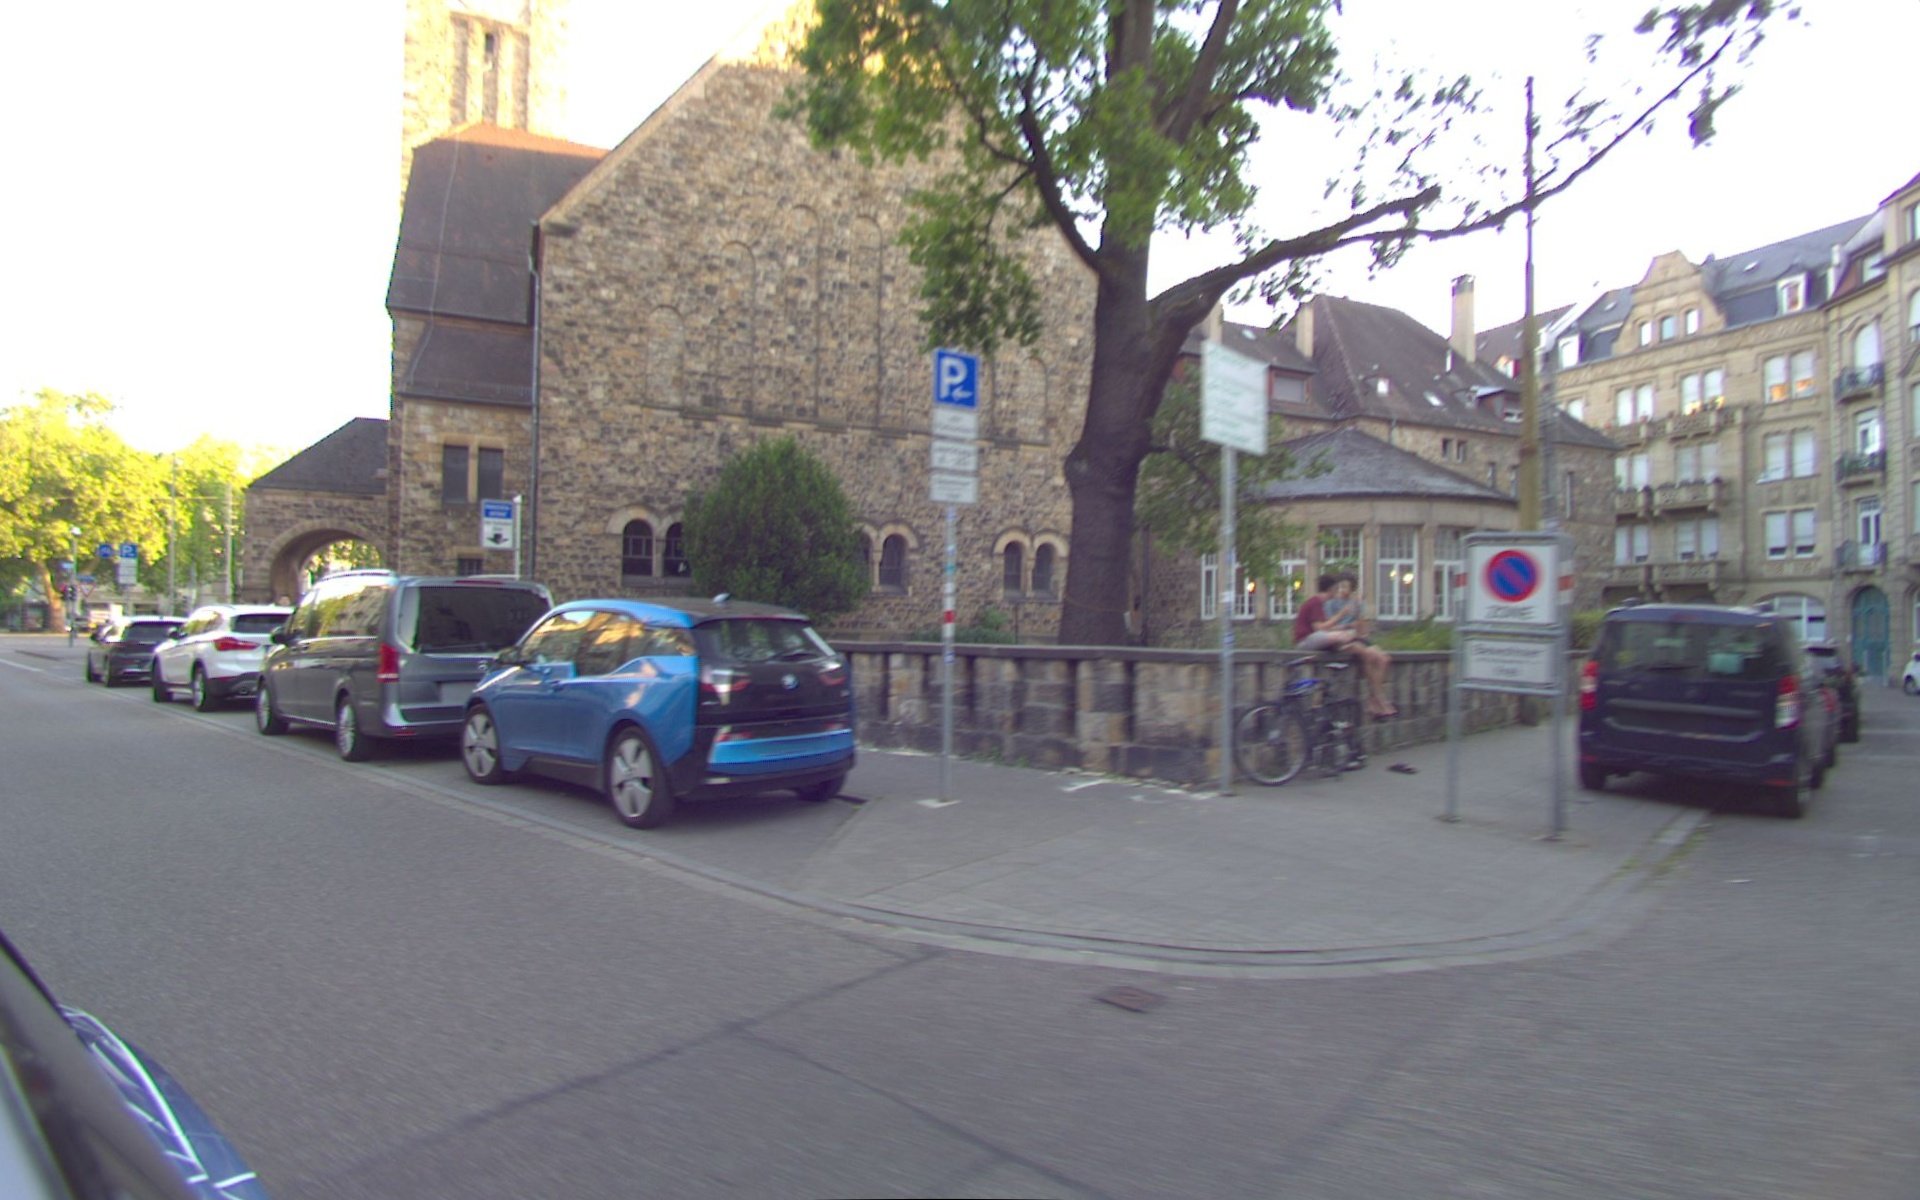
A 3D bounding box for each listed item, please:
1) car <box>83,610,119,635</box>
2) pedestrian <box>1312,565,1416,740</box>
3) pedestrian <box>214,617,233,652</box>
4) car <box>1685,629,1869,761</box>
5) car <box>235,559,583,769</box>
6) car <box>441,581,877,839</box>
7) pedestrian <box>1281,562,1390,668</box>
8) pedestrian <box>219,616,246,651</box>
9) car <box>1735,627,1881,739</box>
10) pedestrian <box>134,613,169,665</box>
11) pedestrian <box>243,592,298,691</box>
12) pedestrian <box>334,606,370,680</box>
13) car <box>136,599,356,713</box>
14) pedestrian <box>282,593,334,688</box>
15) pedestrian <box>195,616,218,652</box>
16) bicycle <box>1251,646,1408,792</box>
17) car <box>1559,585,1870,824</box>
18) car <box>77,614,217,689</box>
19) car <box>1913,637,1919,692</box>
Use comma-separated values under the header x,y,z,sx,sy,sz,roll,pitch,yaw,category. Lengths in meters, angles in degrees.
x,y,z,sx,sy,sz,roll,pitch,yaw,category
-72.090,1.884,84.974,1.837,2.029,3.821,2,-2,-33,car
4.218,0.534,10.577,0.836,1.734,0.699,-1,-3,40,pedestrian
-30.703,1.433,42.188,0.395,1.417,0.549,1,-2,-13,pedestrian
11.191,1.170,13.812,1.720,1.511,4.155,-1,-2,41,car
-6.515,0.635,11.630,5.290,1.881,1.971,-1,-2,44,car
-2.597,0.720,8.160,4.005,1.567,1.622,-1,-2,44,car
3.724,0.158,10.044,0.836,0.988,0.699,-1,-3,40,pedestrian
-29.735,1.385,41.381,0.692,1.417,0.633,1,-2,-13,pedestrian
14.535,1.324,17.343,1.720,1.665,4.155,-1,-2,41,car
-27.377,1.302,34.276,0.689,1.738,0.708,-1,-2,32,pedestrian
-13.511,0.808,19.832,0.890,1.894,0.640,-1,-2,39,pedestrian
-13.619,0.964,22.682,0.541,1.634,0.415,0,-2,2,pedestrian
-11.676,0.843,16.429,4.466,1.604,1.852,-1,-2,41,car
-13.135,0.810,20.382,0.988,1.871,0.567,-1,-2,39,pedestrian
-31.246,1.404,41.968,0.541,1.464,0.559,1,-2,-13,pedestrian
3.343,0.995,9.039,0.555,1.142,2.116,-1,-3,42,bicycle
7.554,0.893,9.990,3.941,1.858,1.892,3,-3,-45,car
-17.547,1.055,21.777,4.316,1.446,1.763,-1,-3,43,car
32.585,2.164,31.744,1.794,1.874,5.138,2,-1,18,car
